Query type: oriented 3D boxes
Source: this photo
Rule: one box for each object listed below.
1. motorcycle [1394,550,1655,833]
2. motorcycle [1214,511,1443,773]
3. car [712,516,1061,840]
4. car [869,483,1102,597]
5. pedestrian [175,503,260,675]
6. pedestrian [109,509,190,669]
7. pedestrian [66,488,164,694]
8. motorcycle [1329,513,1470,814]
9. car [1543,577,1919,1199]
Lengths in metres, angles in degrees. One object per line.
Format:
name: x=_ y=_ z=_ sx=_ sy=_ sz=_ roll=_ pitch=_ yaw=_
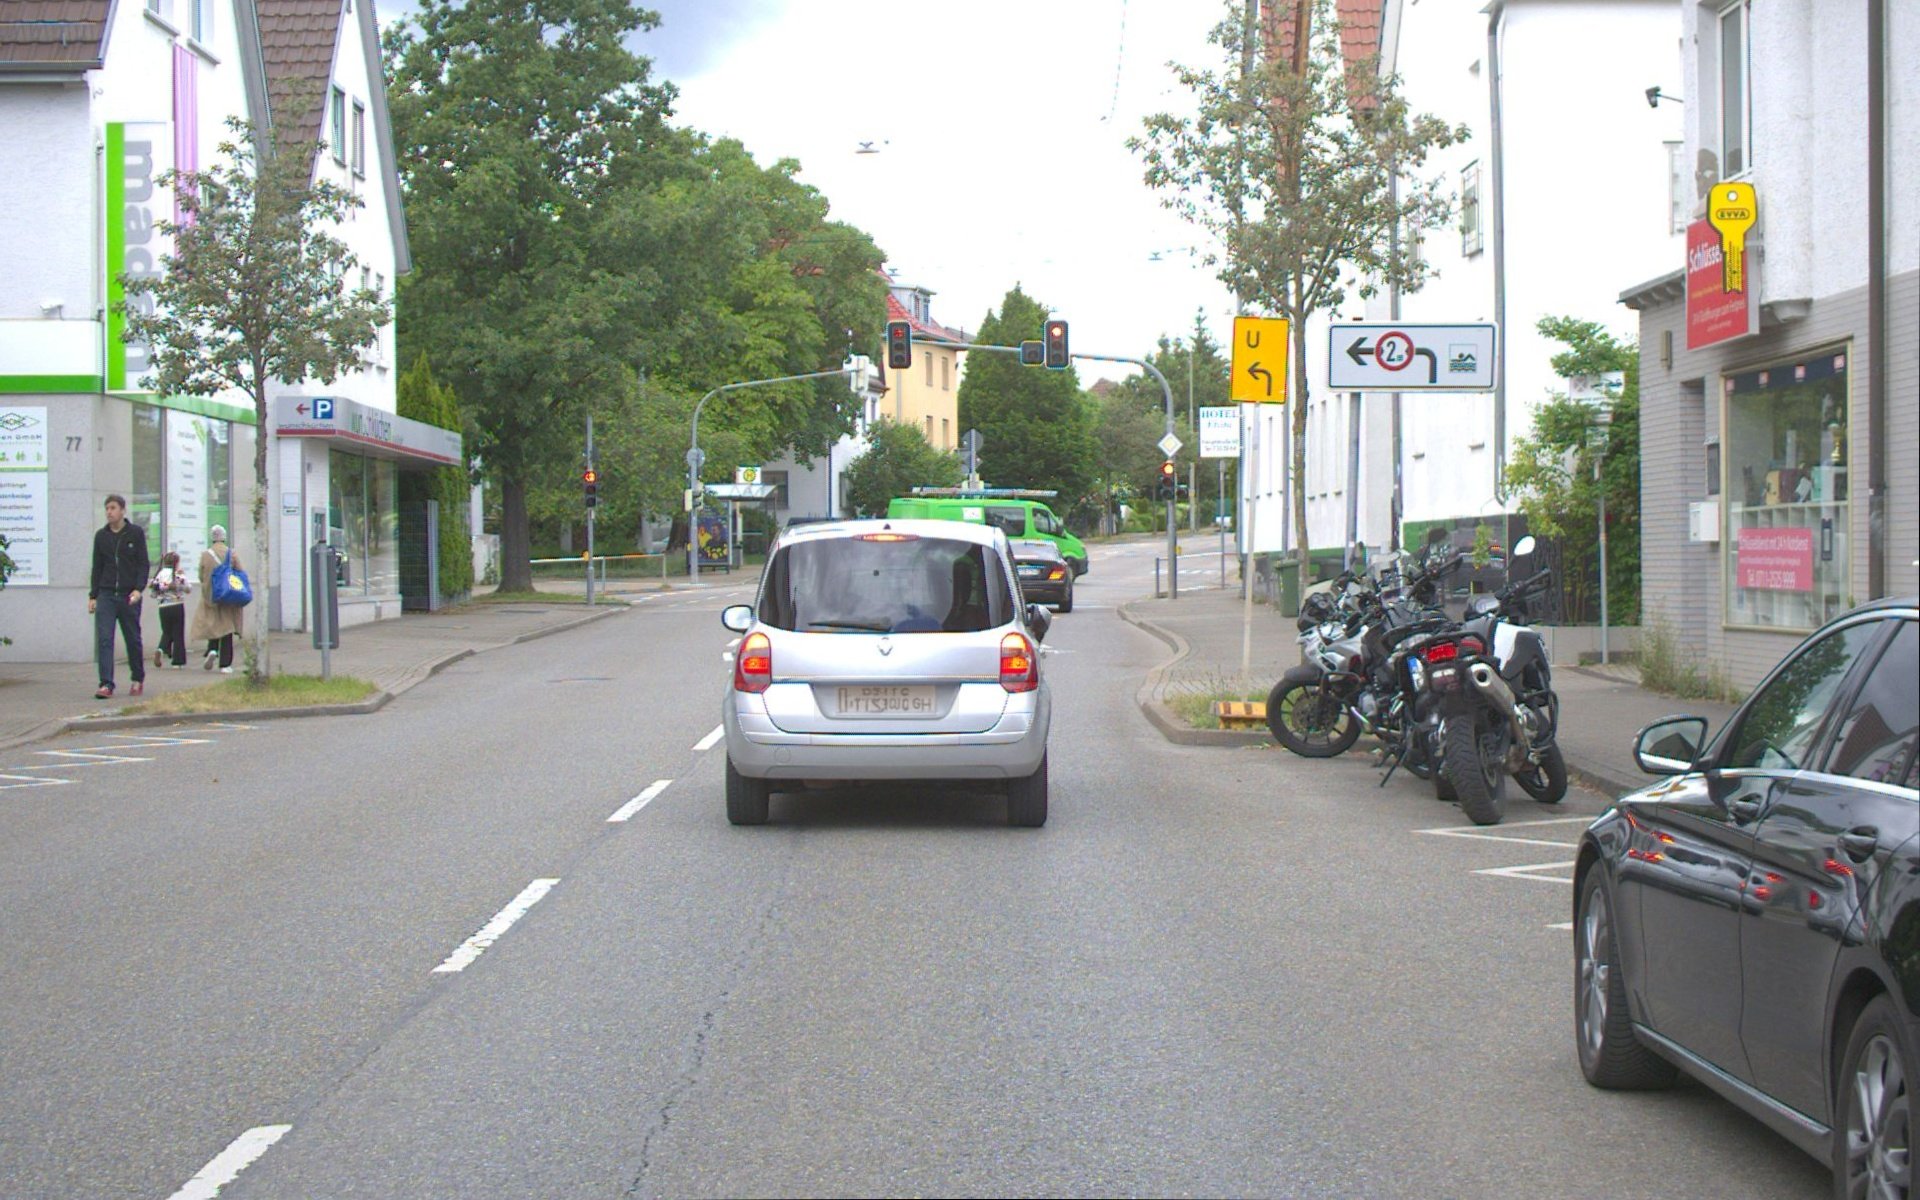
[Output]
motorcycle: x=3.088 y=0.451 z=18.569 sx=0.699 sy=1.404 sz=2.713 roll=1 pitch=1 yaw=24
motorcycle: x=2.395 y=0.249 z=22.684 sx=0.697 sy=1.633 sz=2.410 roll=1 pitch=1 yaw=-14
car: x=-0.351 y=0.358 z=18.922 sx=1.682 sy=1.560 sz=3.993 roll=1 pitch=1 yaw=0
car: x=0.709 y=-1.565 z=90.963 sx=5.930 sy=2.897 sz=2.254 roll=1 pitch=1 yaw=-36
pedestrian: x=-8.202 y=-0.127 z=37.979 sx=0.762 sy=1.869 sz=0.696 roll=1 pitch=1 yaw=0
pedestrian: x=-8.999 y=-0.123 z=38.196 sx=0.716 sy=1.750 sz=0.696 roll=1 pitch=1 yaw=0
pedestrian: x=-7.796 y=-0.082 z=31.742 sx=0.716 sy=1.869 sz=0.696 roll=1 pitch=1 yaw=0
motorcycle: x=2.585 y=0.334 z=20.038 sx=0.698 sy=1.633 sz=2.408 roll=1 pitch=1 yaw=9
car: x=2.550 y=0.707 z=7.682 sx=1.700 sy=1.462 sz=4.239 roll=1 pitch=1 yaw=-1
